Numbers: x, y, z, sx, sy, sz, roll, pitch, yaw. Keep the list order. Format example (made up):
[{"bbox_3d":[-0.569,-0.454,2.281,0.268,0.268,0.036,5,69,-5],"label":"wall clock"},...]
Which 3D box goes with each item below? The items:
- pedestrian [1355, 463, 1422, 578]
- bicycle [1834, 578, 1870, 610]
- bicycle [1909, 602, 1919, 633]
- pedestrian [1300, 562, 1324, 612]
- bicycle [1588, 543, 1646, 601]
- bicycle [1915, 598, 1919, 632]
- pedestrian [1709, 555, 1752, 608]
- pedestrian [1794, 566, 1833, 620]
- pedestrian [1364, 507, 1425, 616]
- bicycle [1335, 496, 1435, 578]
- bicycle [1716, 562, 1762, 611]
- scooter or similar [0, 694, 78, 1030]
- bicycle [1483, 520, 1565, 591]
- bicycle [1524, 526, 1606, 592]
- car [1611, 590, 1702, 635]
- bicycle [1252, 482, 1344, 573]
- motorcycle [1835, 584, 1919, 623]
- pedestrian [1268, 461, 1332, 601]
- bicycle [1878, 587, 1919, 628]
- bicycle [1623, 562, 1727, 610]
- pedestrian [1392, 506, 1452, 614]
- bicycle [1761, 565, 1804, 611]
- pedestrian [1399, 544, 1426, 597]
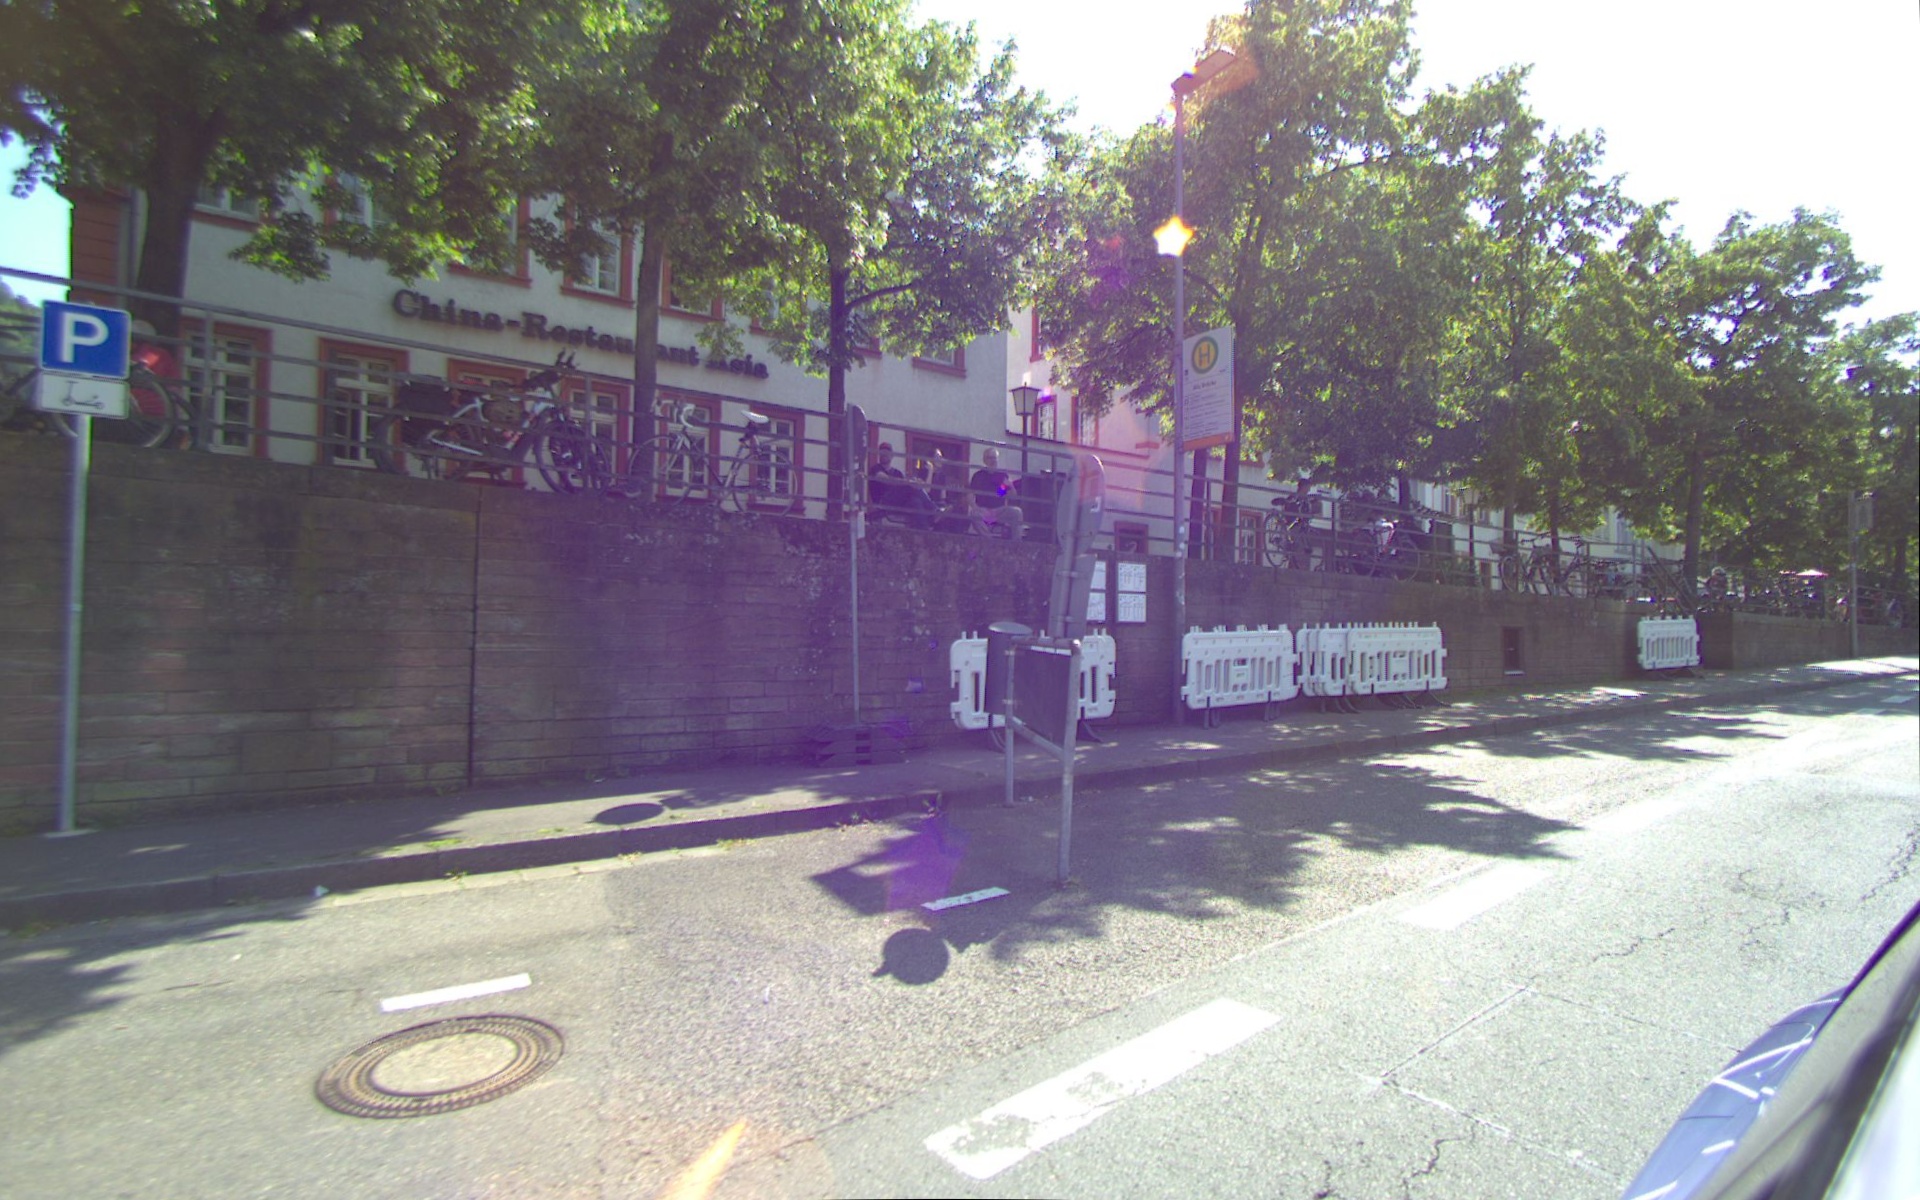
[{"bbox_3d":[6.781,-1.237,16.034,0.698,1.743,0.721,1,-1,-35],"label":"pedestrian"},{"bbox_3d":[23.343,-0.148,26.489,1.883,0.794,0.350,1,-1,-37],"label":"bicycle"},{"bbox_3d":[36.001,0.679,36.918,0.415,1.114,1.956,1,1,-34],"label":"bicycle"},{"bbox_3d":[10.989,-0.403,31.570,0.320,1.498,0.345,-15,6,-32],"label":"pedestrian"},{"bbox_3d":[14.060,-0.577,21.638,1.897,1.155,0.383,2,-1,-36],"label":"bicycle"},{"bbox_3d":[36.844,0.597,37.403,0.467,1.277,2.163,1,1,-34],"label":"bicycle"},{"bbox_3d":[18.841,-0.443,24.745,0.657,1.281,0.696,1,-1,-39],"label":"pedestrian"},{"bbox_3d":[22.932,-0.175,27.194,0.683,1.433,0.669,1,-1,-36],"label":"pedestrian"},{"bbox_3d":[7.121,-0.614,16.593,0.562,1.743,0.721,1,-1,-35],"label":"pedestrian"},{"bbox_3d":[6.247,-0.900,14.849,1.700,1.120,0.412,1,0,-30],"label":"bicycle"},{"bbox_3d":[17.277,-0.284,22.430,1.825,1.017,0.299,2,-1,-36],"label":"bicycle"},{"bbox_3d":[-4.000,0.921,3.436,1.409,1.103,0.534,0,-1,-26],"label":"scooter or similar"},{"bbox_3d":[9.587,-0.735,17.176,1.700,1.120,0.411,1,-1,-30],"label":"bicycle"},{"bbox_3d":[10.896,-0.717,18.201,1.885,1.120,0.411,1,-1,-30],"label":"bicycle"},{"bbox_3d":[31.627,0.595,45.900,4.644,1.823,1.838,3,-2,-34],"label":"car"},{"bbox_3d":[4.624,-0.955,13.789,1.705,1.120,0.410,1,0,-43],"label":"bicycle"},{"bbox_3d":[27.795,0.091,30.638,0.565,1.112,1.918,1,0,-42],"label":"motorcycle"},{"bbox_3d":[5.558,-1.102,16.539,0.698,2.217,0.721,1,-1,-35],"label":"pedestrian"},{"bbox_3d":[26.641,0.215,28.720,1.881,1.126,0.345,1,-1,-31],"label":"bicycle"},{"bbox_3d":[15.671,-0.302,22.228,0.293,1.017,1.859,2,-1,-37],"label":"bicycle"},{"bbox_3d":[7.690,-0.650,16.849,0.562,1.743,0.721,1,-1,-35],"label":"pedestrian"},{"bbox_3d":[19.096,-0.262,23.485,1.904,1.017,0.299,2,-1,-36],"label":"bicycle"},{"bbox_3d":[13.774,-0.881,30.830,0.596,1.565,0.469,1,-3,-34],"label":"pedestrian"}]
